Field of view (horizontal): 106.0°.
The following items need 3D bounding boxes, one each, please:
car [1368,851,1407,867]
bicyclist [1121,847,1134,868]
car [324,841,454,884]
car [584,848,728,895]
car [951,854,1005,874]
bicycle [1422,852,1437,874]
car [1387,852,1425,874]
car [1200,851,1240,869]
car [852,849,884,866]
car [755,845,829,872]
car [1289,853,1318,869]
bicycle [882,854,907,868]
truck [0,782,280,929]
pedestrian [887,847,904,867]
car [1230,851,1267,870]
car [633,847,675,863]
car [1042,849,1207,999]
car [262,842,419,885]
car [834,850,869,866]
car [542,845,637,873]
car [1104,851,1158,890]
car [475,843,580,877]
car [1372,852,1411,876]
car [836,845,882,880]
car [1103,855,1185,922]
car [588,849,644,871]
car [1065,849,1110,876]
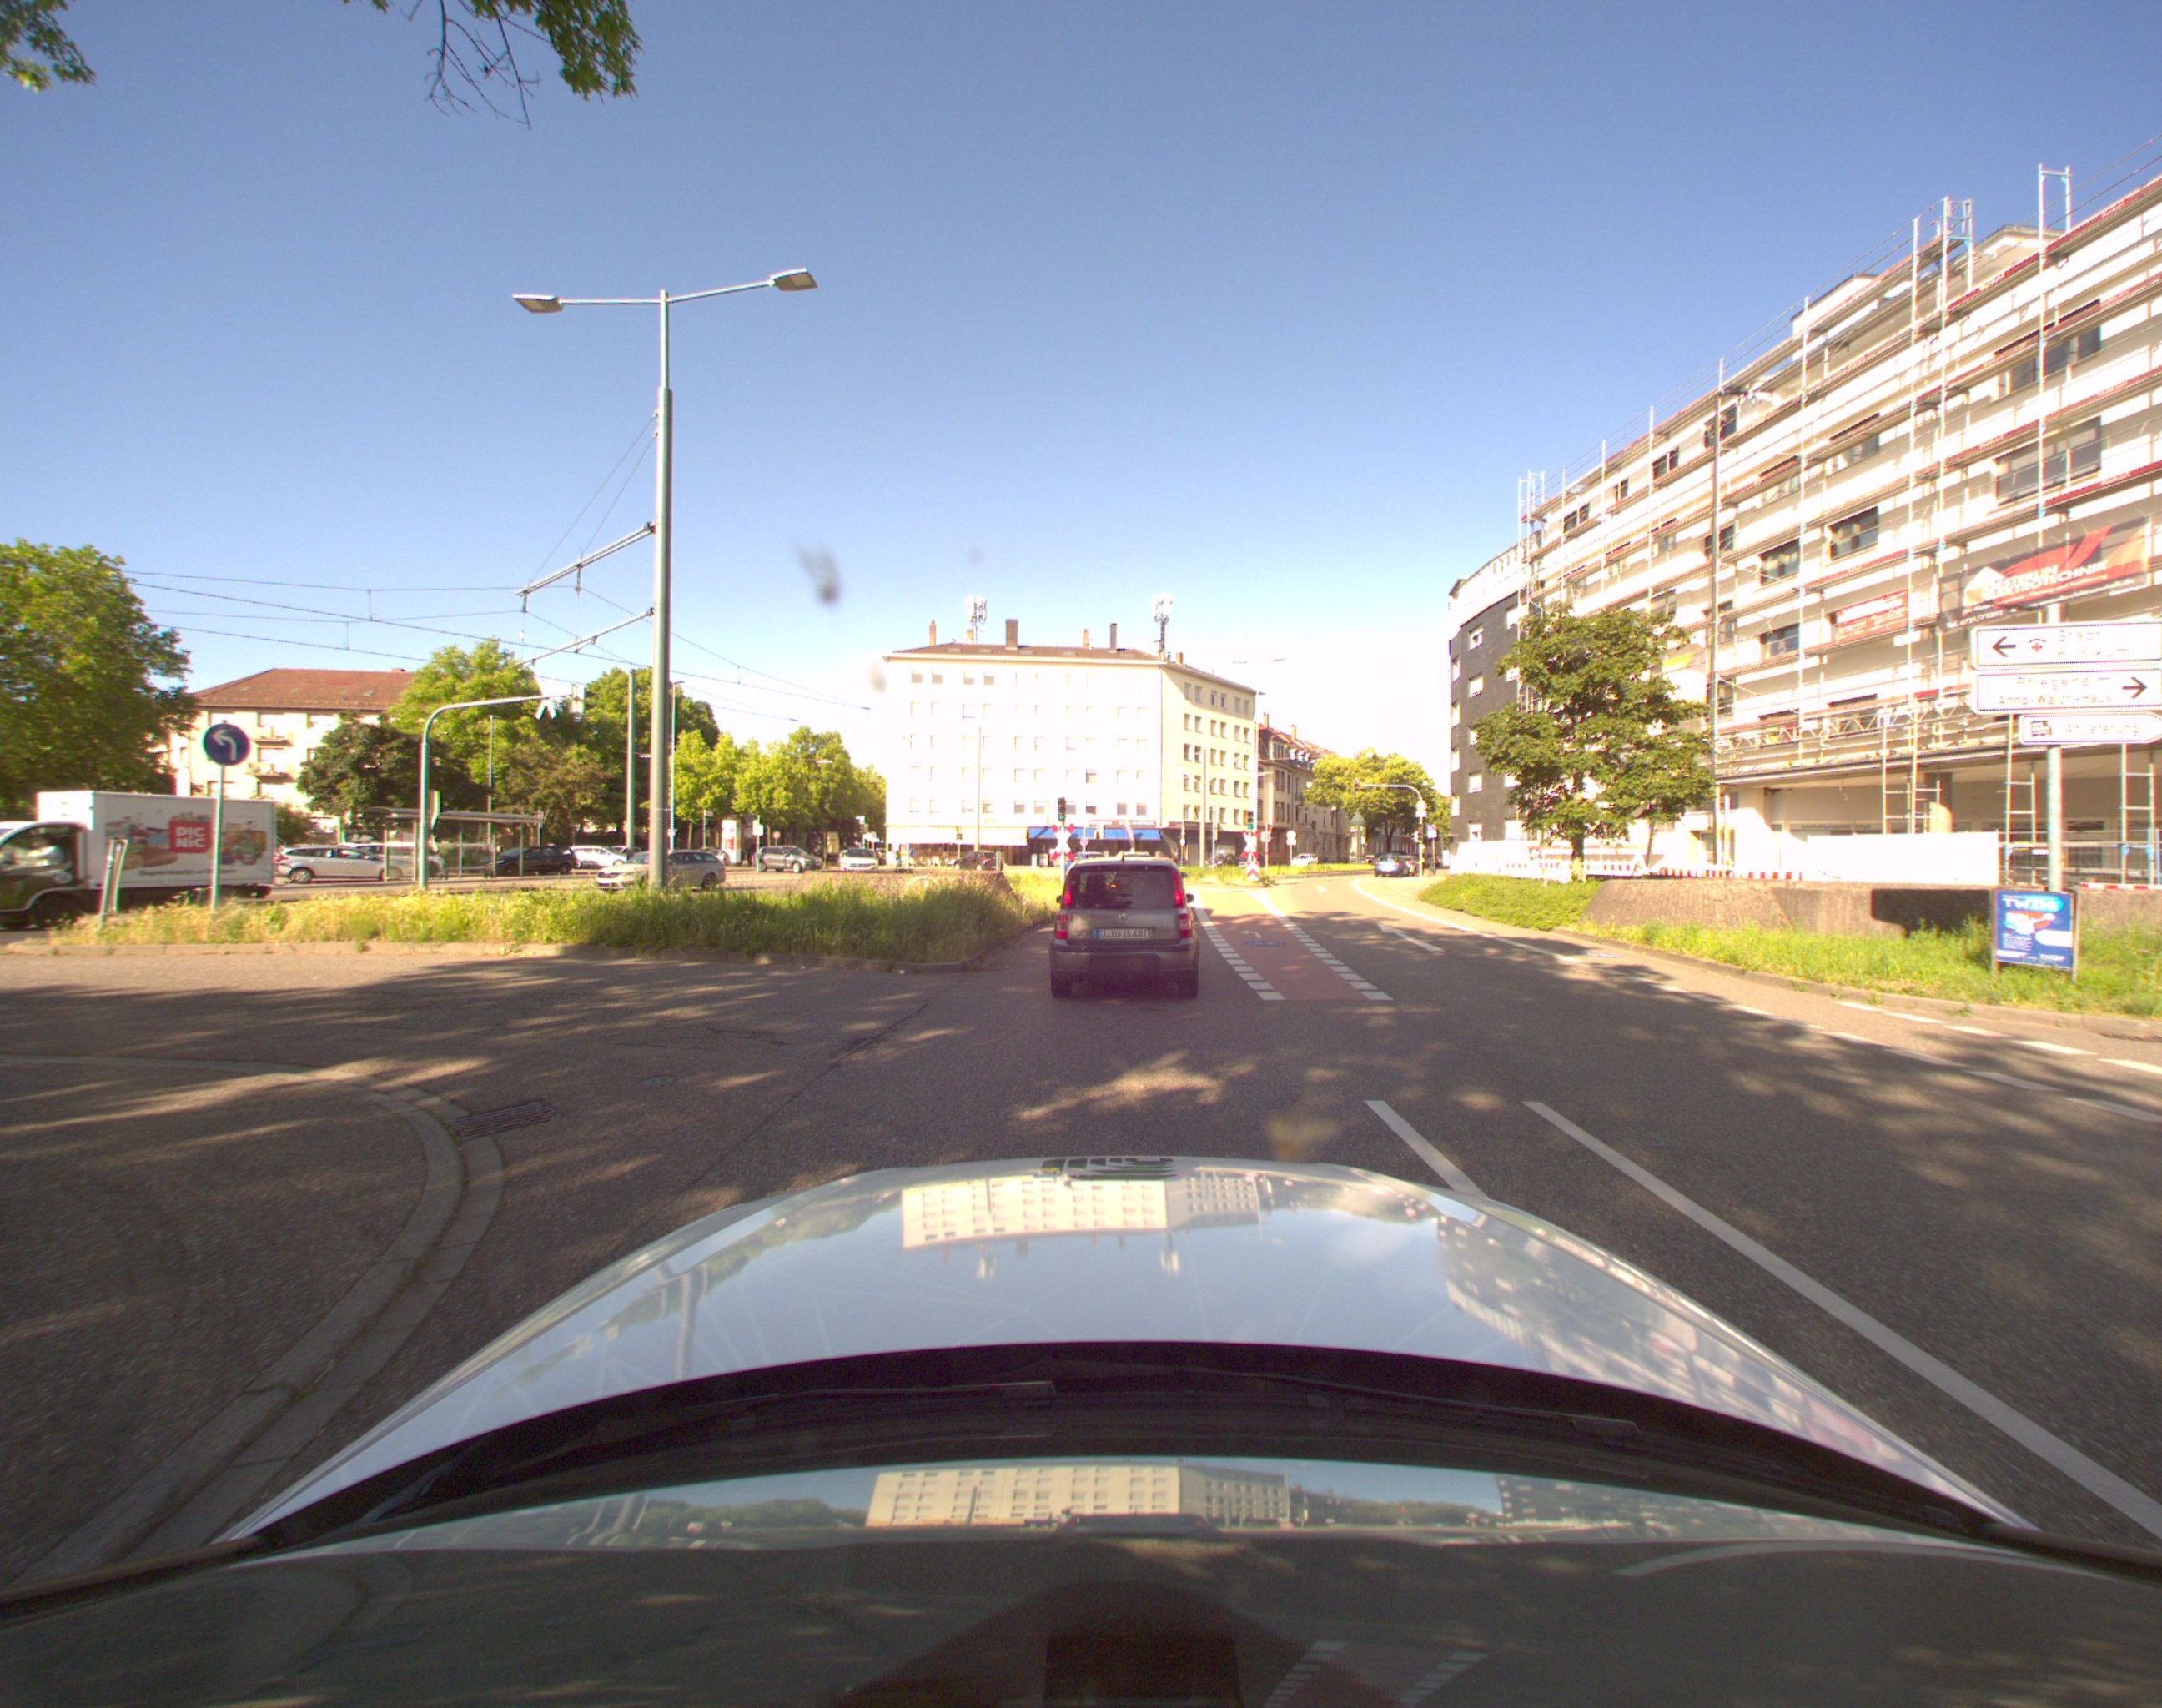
[{"bbox_3d":[31.870,0.545,84.912,1.907,1.594,3.981,0,0,-14],"label":"car"},{"bbox_3d":[3.478,0.276,60.286,0.814,1.559,0.565,0,0,21],"label":"bicyclist"},{"bbox_3d":[-30.857,0.321,36.423,1.742,1.717,4.024,4,2,26],"label":"car"},{"bbox_3d":[-14.267,0.554,27.642,1.650,1.448,4.422,1,0,18],"label":"car"},{"bbox_3d":[-6.839,0.623,54.035,3.581,1.253,1.706,1,0,45],"label":"car"},{"bbox_3d":[25.243,0.627,58.961,0.567,1.511,2.825,0,0,32],"label":"bicycle"},{"bbox_3d":[23.248,0.638,58.166,1.802,1.508,4.025,0,0,32],"label":"car"},{"bbox_3d":[11.215,0.491,65.529,1.773,1.396,3.748,1,0,34],"label":"car"},{"bbox_3d":[-20.522,0.311,78.551,1.930,1.513,3.939,1,0,0],"label":"car"},{"bbox_3d":[-18.156,0.261,51.180,3.956,1.572,2.009,1,0,17],"label":"car"},{"bbox_3d":[22.155,0.673,80.965,1.773,1.483,3.554,1,0,34],"label":"car"},{"bbox_3d":[-14.044,0.538,61.315,1.832,0.951,0.790,1,-1,38],"label":"bicycle"},{"bbox_3d":[-18.257,0.022,15.358,1.775,2.427,4.124,1,0,13],"label":"truck"},{"bbox_3d":[-13.917,0.237,61.220,0.926,1.428,0.781,1,-1,38],"label":"pedestrian"},{"bbox_3d":[14.567,0.524,70.712,1.773,1.565,3.790,1,0,34],"label":"car"},{"bbox_3d":[-35.646,0.052,68.102,1.589,1.293,3.701,0,0,-1],"label":"car"},{"bbox_3d":[0.462,0.708,9.875,1.654,1.510,3.251,1,0,0],"label":"car"},{"bbox_3d":[-30.117,0.382,33.230,1.849,1.544,4.577,4,2,42],"label":"car"},{"bbox_3d":[-19.872,0.357,70.616,1.988,1.310,3.998,1,0,-1],"label":"car"},{"bbox_3d":[-31.684,0.304,52.644,4.872,1.442,1.727,-4,-2,-13],"label":"car"},{"bbox_3d":[1.990,0.639,33.528,1.756,1.486,4.288,1,0,-3],"label":"car"},{"bbox_3d":[-27.582,0.245,40.707,1.743,1.488,4.029,4,2,21],"label":"car"},{"bbox_3d":[20.588,0.640,53.964,1.758,1.442,3.641,1,1,31],"label":"car"},{"bbox_3d":[-10.647,0.374,39.094,1.997,1.562,4.364,1,0,-15],"label":"car"},{"bbox_3d":[1.421,0.746,19.515,1.616,1.429,3.687,1,0,-1],"label":"car"},{"bbox_3d":[-35.643,0.441,62.586,1.753,1.617,4.228,1,0,2],"label":"car"},{"bbox_3d":[0.337,0.457,45.809,1.649,1.438,3.377,1,0,-16],"label":"car"}]
